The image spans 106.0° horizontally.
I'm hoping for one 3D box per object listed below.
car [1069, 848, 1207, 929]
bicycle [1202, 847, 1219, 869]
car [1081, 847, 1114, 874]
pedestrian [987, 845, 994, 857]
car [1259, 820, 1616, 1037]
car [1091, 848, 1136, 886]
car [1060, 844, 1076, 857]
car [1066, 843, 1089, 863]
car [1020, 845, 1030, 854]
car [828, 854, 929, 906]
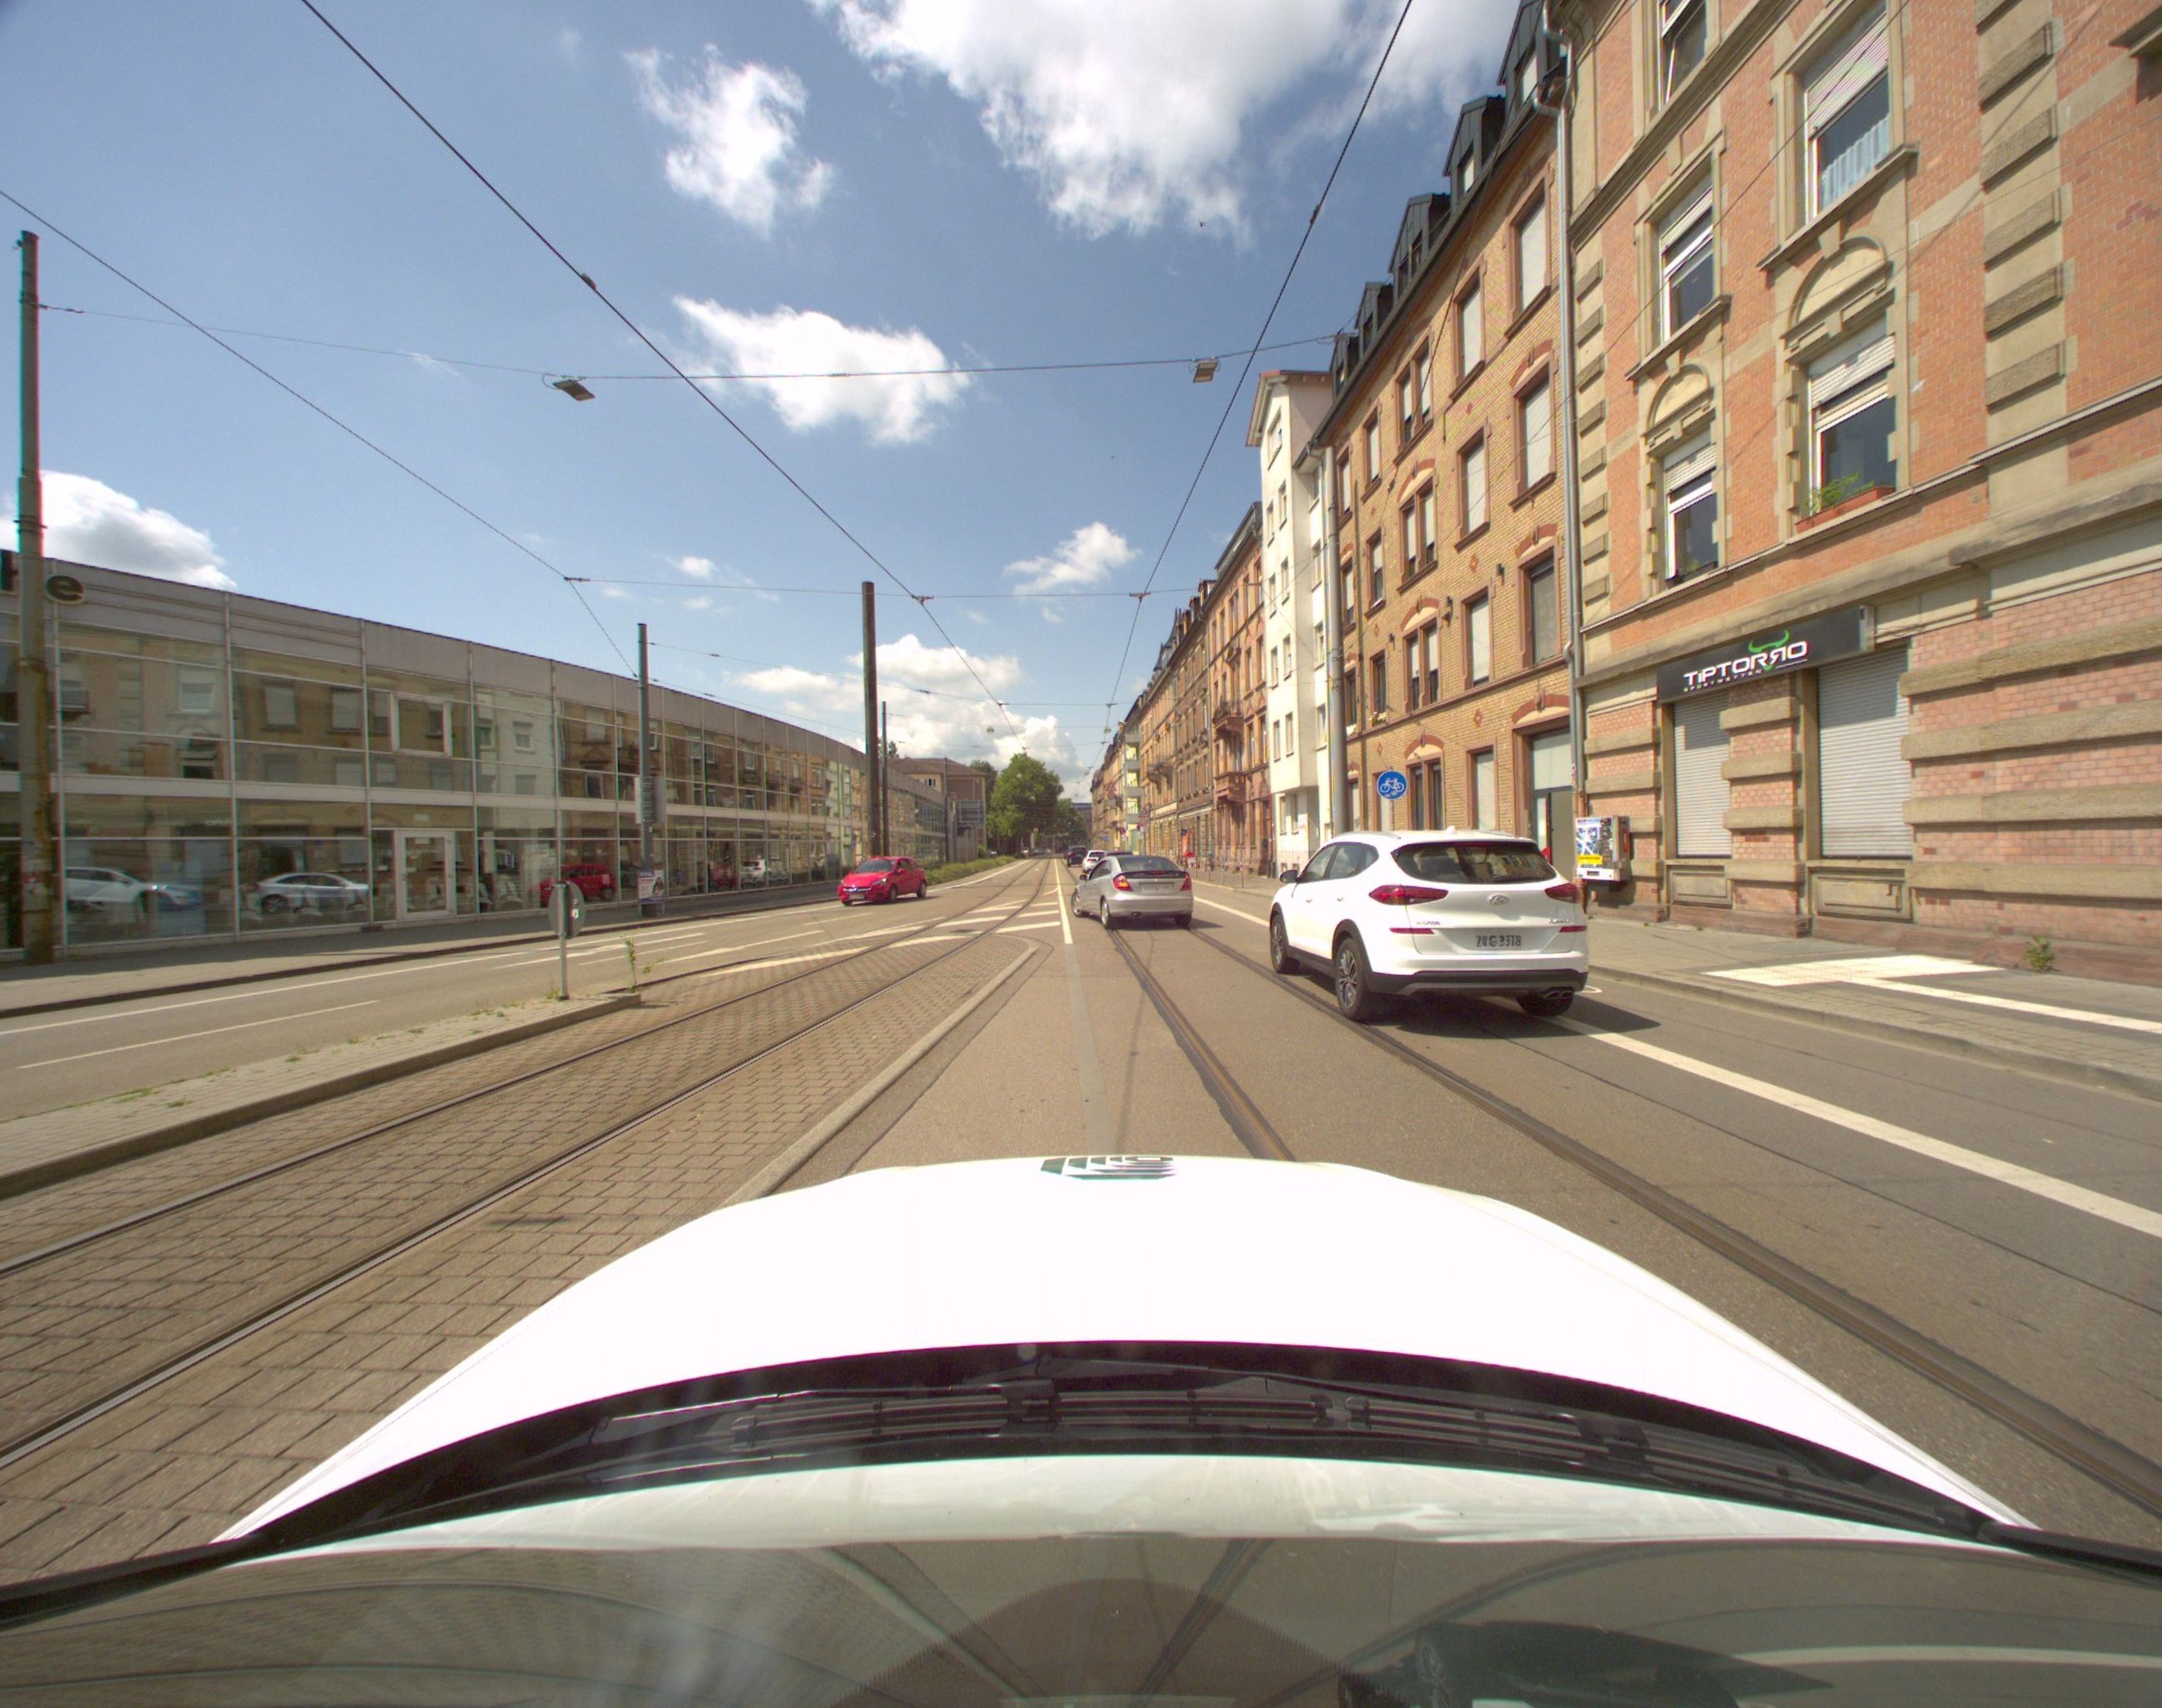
[{"bbox_3d":[1.032,0.607,16.978,1.815,1.420,4.172,-2,1,-11],"label":"car"},{"bbox_3d":[7.420,0.208,46.774,0.585,1.178,2.204,-2,1,-1],"label":"bicycle"},{"bbox_3d":[1.019,0.375,50.877,1.810,1.524,3.953,-2,1,-2],"label":"car"},{"bbox_3d":[-14.718,-0.531,132.530,0.877,1.865,1.080,-3,0,-2],"label":"pedestrian"},{"bbox_3d":[3.183,0.576,8.316,1.846,1.634,4.181,-1,0,1],"label":"car"},{"bbox_3d":[1.388,0.517,35.779,1.808,1.524,4.086,-2,0,1],"label":"car"},{"bbox_3d":[-1.923,-0.533,119.437,1.989,1.859,3.995,-2,1,-3],"label":"car"},{"bbox_3d":[-0.344,-0.094,70.026,1.810,1.661,4.082,-2,1,-2],"label":"car"},{"bbox_3d":[-11.713,-0.991,170.576,1.945,1.895,4.562,-1,1,-2],"label":"car"},{"bbox_3d":[-6.469,0.793,26.466,1.691,1.428,3.913,-3,1,10],"label":"car"}]
